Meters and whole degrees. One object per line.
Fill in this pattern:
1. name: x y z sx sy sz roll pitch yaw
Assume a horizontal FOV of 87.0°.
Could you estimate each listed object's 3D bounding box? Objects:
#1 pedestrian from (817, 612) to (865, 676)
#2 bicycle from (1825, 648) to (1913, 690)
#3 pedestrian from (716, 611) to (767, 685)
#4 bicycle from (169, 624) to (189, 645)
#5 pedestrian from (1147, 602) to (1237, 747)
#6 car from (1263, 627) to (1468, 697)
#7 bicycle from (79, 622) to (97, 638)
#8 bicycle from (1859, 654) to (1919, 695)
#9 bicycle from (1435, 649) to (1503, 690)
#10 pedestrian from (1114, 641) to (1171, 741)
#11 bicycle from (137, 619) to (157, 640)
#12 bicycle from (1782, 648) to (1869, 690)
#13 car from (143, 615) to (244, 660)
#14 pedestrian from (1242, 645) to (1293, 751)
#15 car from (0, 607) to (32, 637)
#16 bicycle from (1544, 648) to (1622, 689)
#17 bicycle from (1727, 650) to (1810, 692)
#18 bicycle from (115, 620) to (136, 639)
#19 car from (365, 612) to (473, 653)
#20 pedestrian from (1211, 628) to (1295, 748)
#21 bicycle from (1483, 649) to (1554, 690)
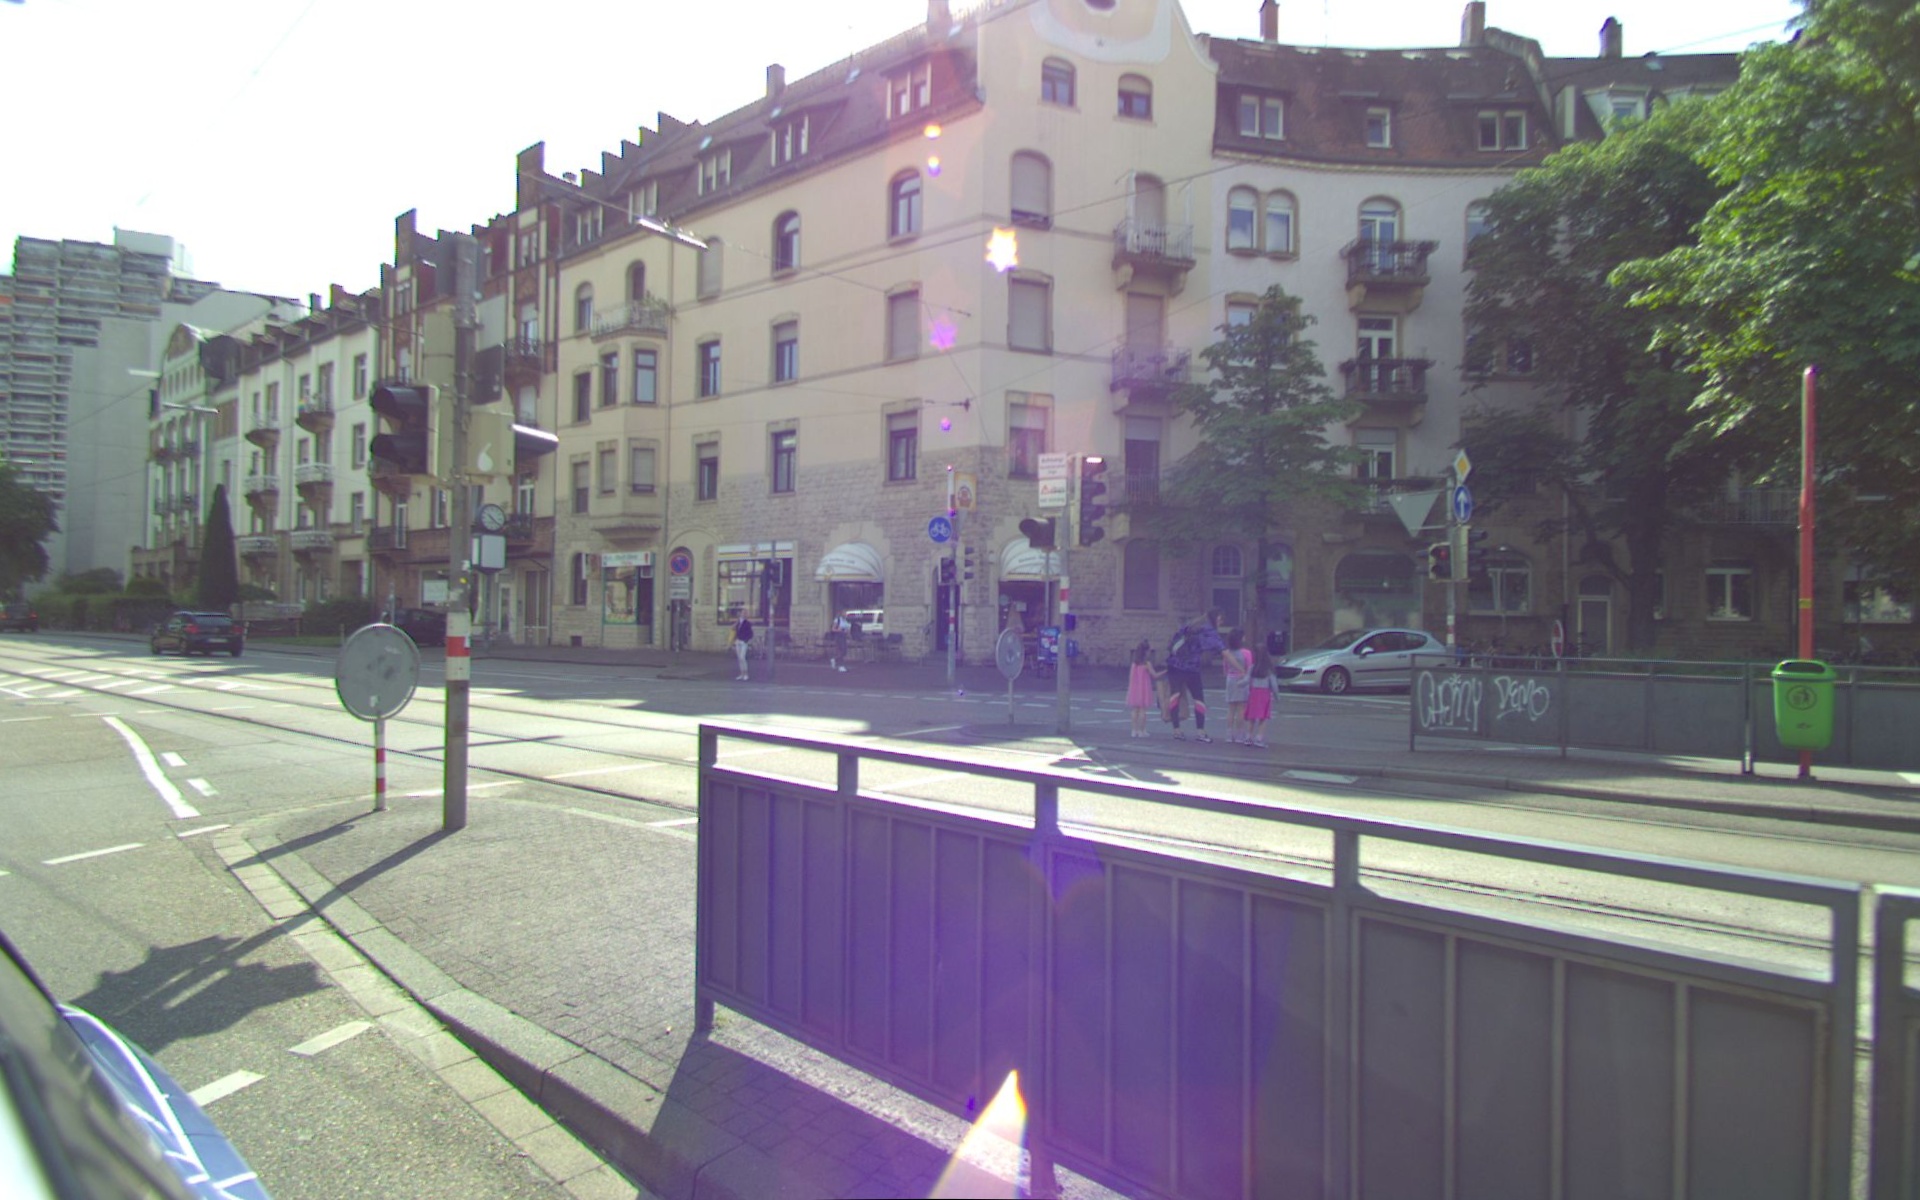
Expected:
1. pedestrian: -3.043 1.114 25.886 0.962 1.553 0.687 -1 2 39
2. bicycle: 22.541 1.702 25.143 0.565 0.905 2.026 1 0 7
3. pedestrian: -5.296 1.139 24.526 0.872 1.717 0.749 -1 2 37
4. bicycle: -37.639 1.655 48.762 0.517 0.913 2.068 2 0 -44
5. pedestrian: 2.654 0.824 11.572 0.797 1.577 0.722 0 -2 34
6. car: 8.834 1.335 22.185 3.811 1.431 1.724 1 -2 -8
7. bicycle: -50.569 1.735 58.690 1.873 0.803 0.579 0 1 43
8. bicycle: 23.327 1.834 25.032 0.565 0.905 2.026 1 0 7
9. bicycle: 12.767 1.739 25.450 0.504 0.889 2.034 1 0 -6
10. pedestrian: 2.151 1.045 11.888 0.442 1.122 0.636 0 -2 33
11. bicycle: -42.126 1.543 52.436 1.873 1.037 0.532 0 -1 43
12. bicycle: 21.585 1.699 25.298 0.565 0.905 2.028 1 0 5
13. car: -25.035 1.206 33.051 3.428 1.398 1.611 -1 -3 35
14. pedestrian: 3.367 1.057 11.075 0.422 1.116 0.434 0 -4 33
15. car: -57.515 1.314 60.869 4.325 1.724 1.775 -1 -2 37
16. bicycle: 15.781 1.713 25.684 0.538 0.889 2.034 1 0 -6
17. bicycle: 20.355 1.770 25.528 0.539 0.905 2.029 1 0 3
18. bicycle: -45.592 1.603 55.280 1.873 0.993 0.579 0 -1 43
19. car: -21.576 1.258 40.456 1.704 1.497 3.410 -1 0 39
20. pedestrian: 3.404 1.006 11.749 0.715 1.314 0.819 0 -4 33
21. bicycle: 14.091 1.733 25.595 0.504 0.889 2.034 1 0 -6
